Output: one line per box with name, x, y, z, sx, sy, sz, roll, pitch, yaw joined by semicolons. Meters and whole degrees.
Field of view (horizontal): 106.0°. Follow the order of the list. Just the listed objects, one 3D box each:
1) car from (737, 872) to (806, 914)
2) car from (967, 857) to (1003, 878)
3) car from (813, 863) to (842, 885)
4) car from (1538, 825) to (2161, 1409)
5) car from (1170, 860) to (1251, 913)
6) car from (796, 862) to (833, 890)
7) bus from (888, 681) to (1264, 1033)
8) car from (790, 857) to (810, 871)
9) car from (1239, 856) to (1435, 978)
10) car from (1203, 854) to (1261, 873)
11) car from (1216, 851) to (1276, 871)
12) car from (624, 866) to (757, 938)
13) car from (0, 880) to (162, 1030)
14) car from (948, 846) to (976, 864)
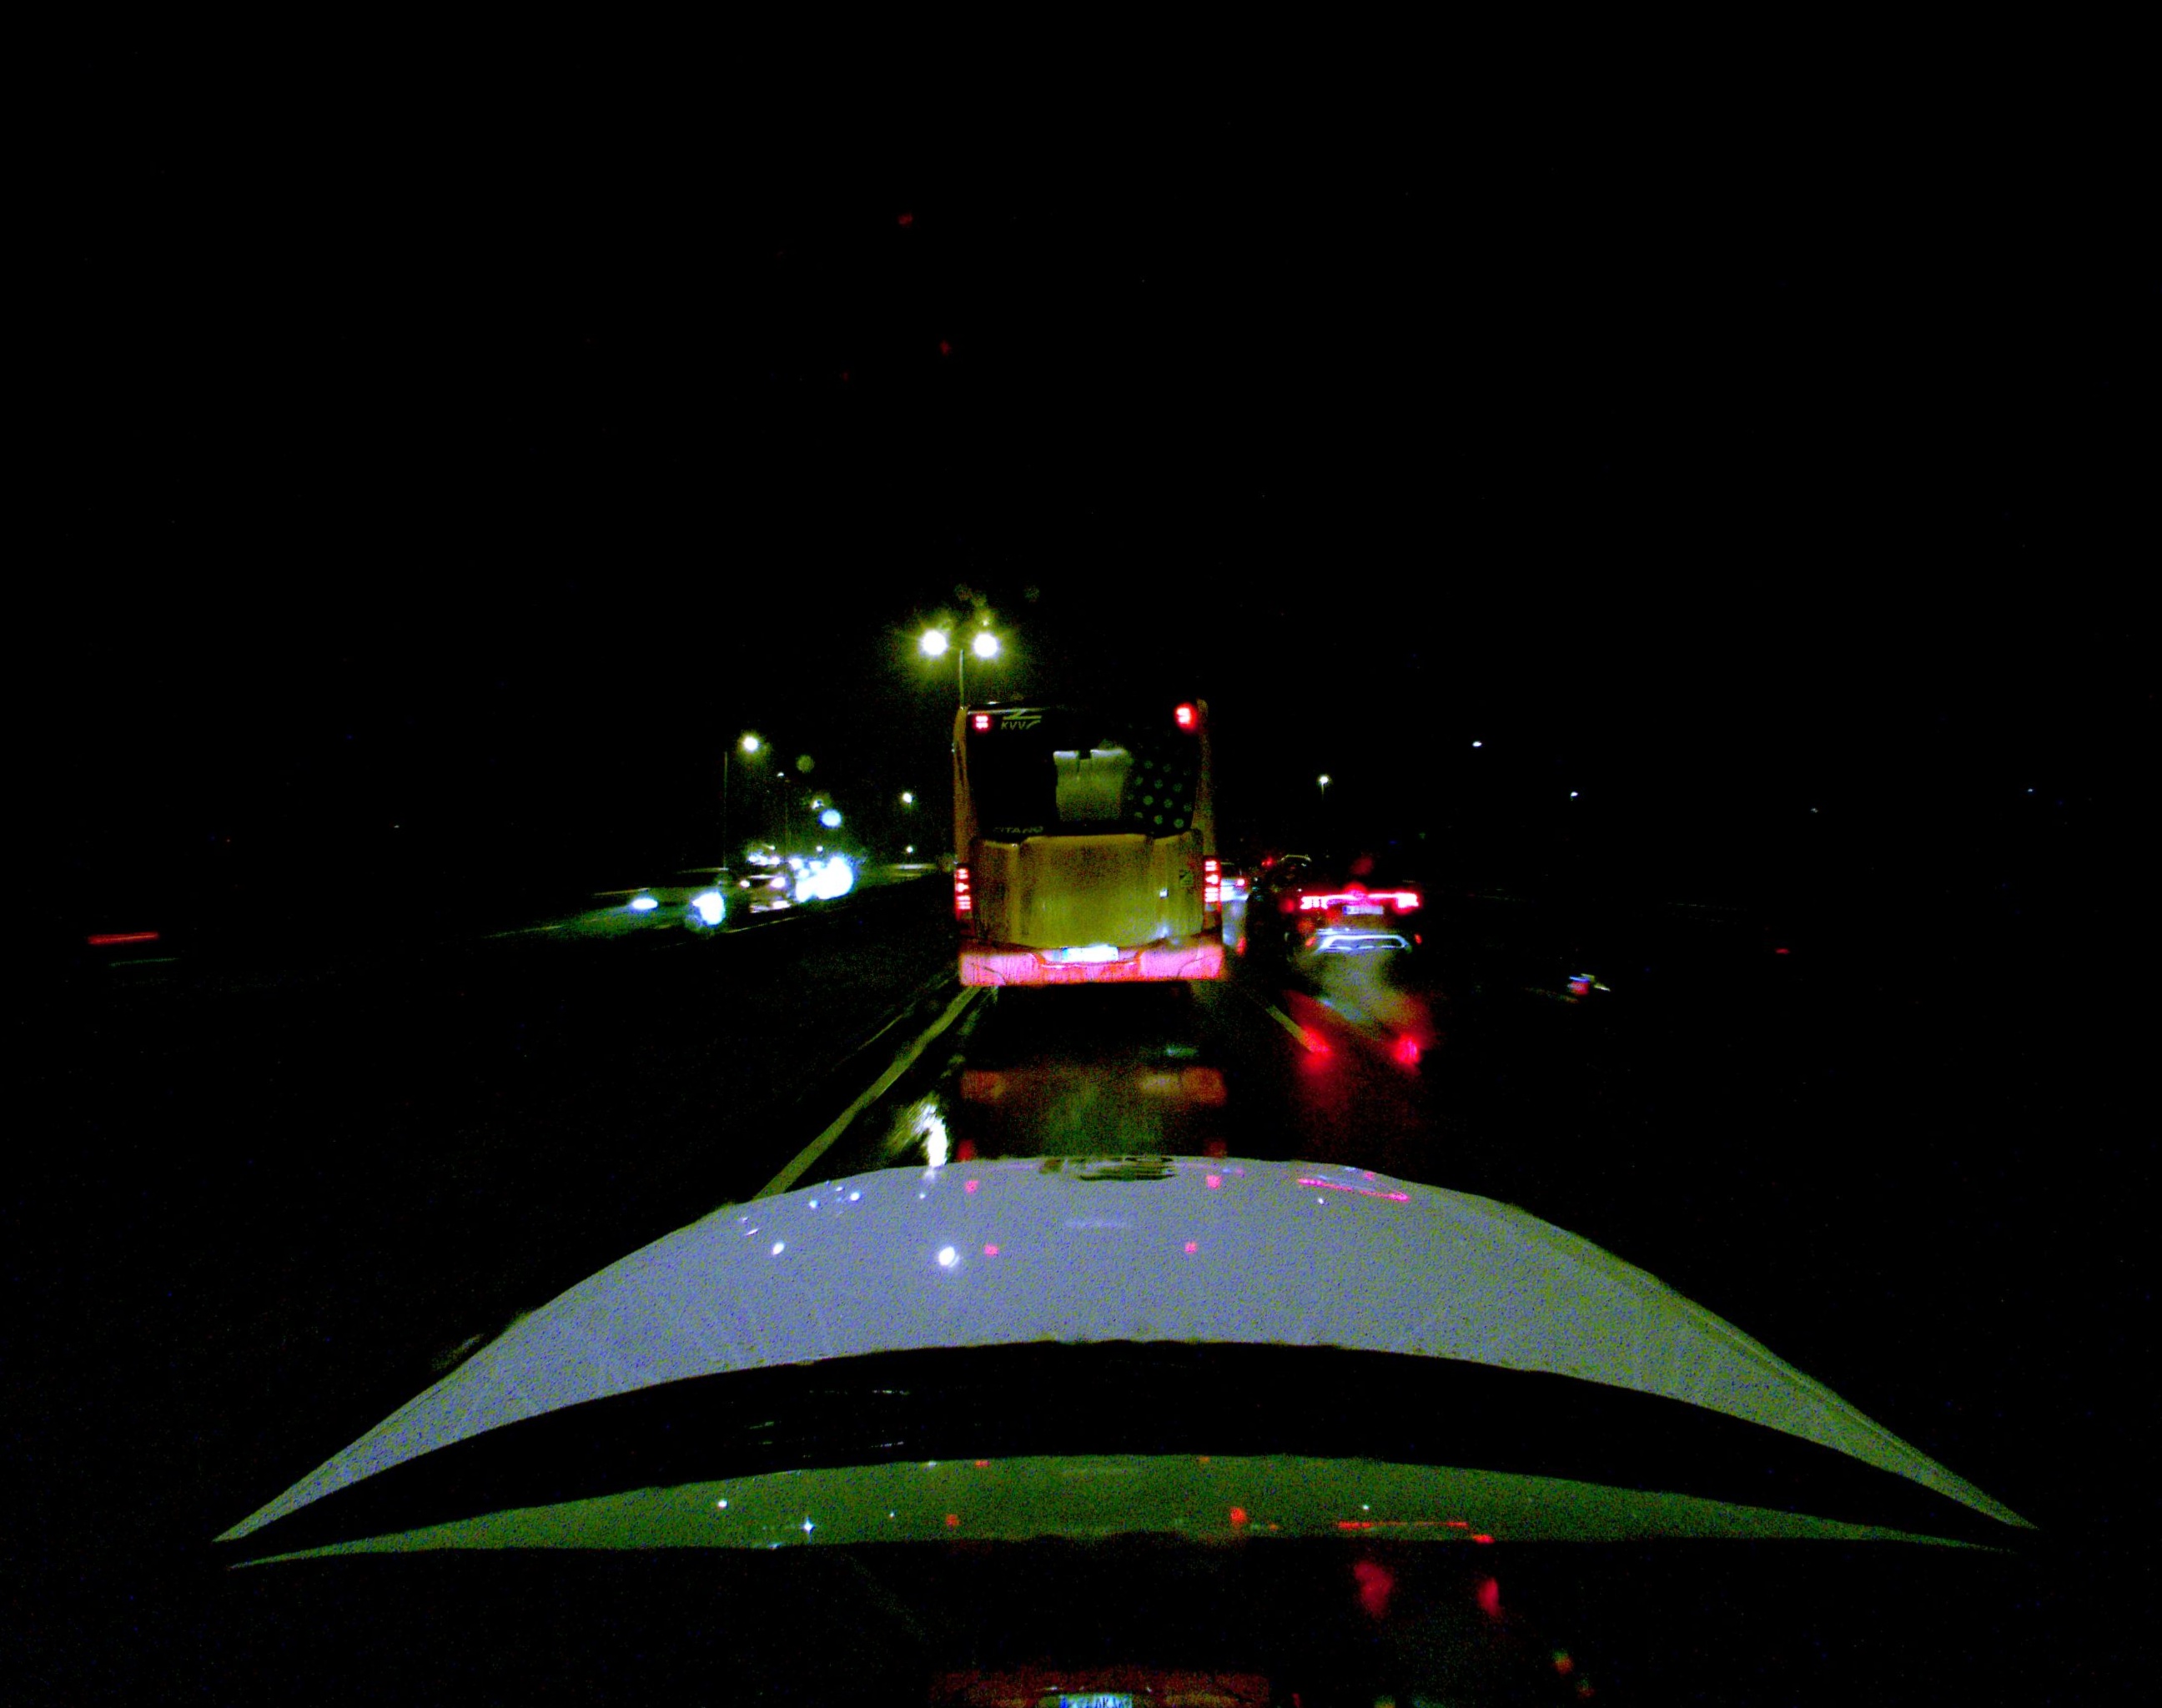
car;-13.548;1.673;35.909;1.763;1.631;4.242;-1;0;-6
car;-7.944;1.097;67.142;2.097;1.644;3.703;0;-1;-21
car;-20.027;1.544;64.470;1.777;1.593;4.539;-2;-1;-13
car;3.659;0.709;2.882;1.666;1.506;4.561;1;-1;2
car;3.664;0.905;23.711;1.681;1.330;3.959;-2;-1;0
car;-16.953;1.372;51.960;1.850;1.571;3.493;-1;0;-12
bus;-0.219;-0.052;12.024;3.277;3.050;9.535;-2;1;-2
car;-31.672;1.192;91.780;1.749;1.502;3.967;-1;-1;-25
car;3.610;0.827;12.240;1.672;1.521;3.959;0;-1;0
car;11.480;0.711;62.136;4.037;1.345;1.744;0;1;-6
car;13.422;0.554;66.507;4.476;1.519;1.853;0;1;-6
car;-9.730;1.136;20.667;1.869;1.608;4.235;-1;-1;-9
car;-11.626;1.074;7.213;1.707;1.423;4.665;0;1;-2
car;-11.947;0.086;81.443;2.000;1.721;3.973;0;-1;-20
